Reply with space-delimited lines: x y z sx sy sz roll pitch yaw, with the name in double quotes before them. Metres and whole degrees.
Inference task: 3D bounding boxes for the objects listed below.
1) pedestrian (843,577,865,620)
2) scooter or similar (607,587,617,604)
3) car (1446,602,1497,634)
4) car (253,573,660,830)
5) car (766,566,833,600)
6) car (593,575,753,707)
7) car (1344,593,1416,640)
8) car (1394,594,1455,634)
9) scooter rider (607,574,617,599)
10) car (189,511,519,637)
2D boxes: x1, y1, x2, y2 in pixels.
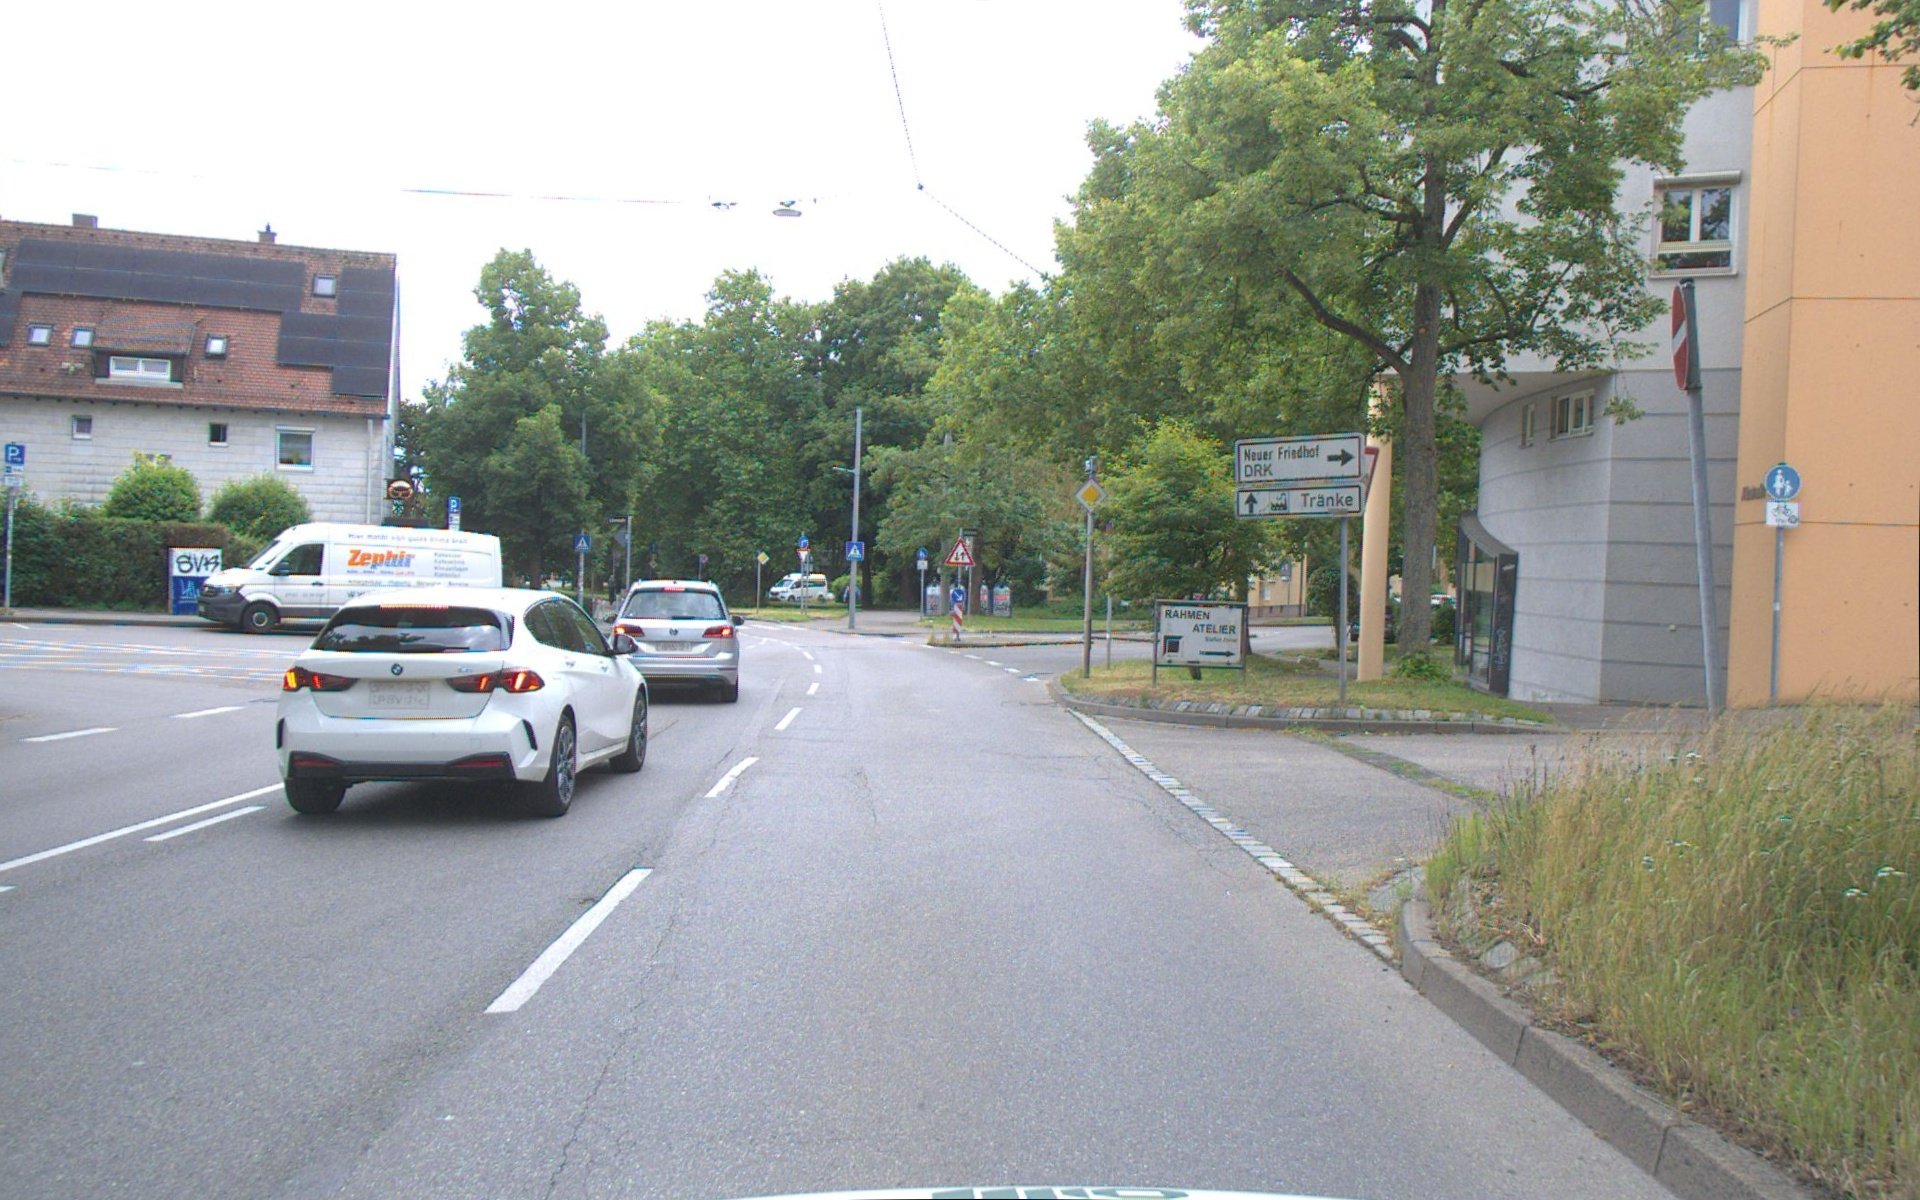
"pedestrian" -4.918 -0.062 76.724 0.906 1.903 1.018 -2 4 -6
"scooter or similar" -22.217 -0.286 105.551 0.591 1.073 0.869 0 2 -16
"car" 24.990 0.883 80.784 1.612 1.399 3.438 5 1 29
"car" -3.412 0.602 12.068 1.759 1.544 4.206 0 0 -1
"car" -12.606 -1.298 130.306 2.096 2.336 5.363 5 1 37
"car" -3.872 0.491 22.917 1.886 1.601 3.995 2 1 -6
"car" 16.263 0.640 63.877 1.838 1.595 4.015 5 1 26
"car" 20.815 0.630 73.955 1.744 1.625 4.243 4 1 27
"scooter rider" -22.250 -0.843 105.676 0.591 1.579 0.564 0 2 -16
"car" -14.083 -0.557 38.818 6.912 2.565 2.056 2 2 -40
